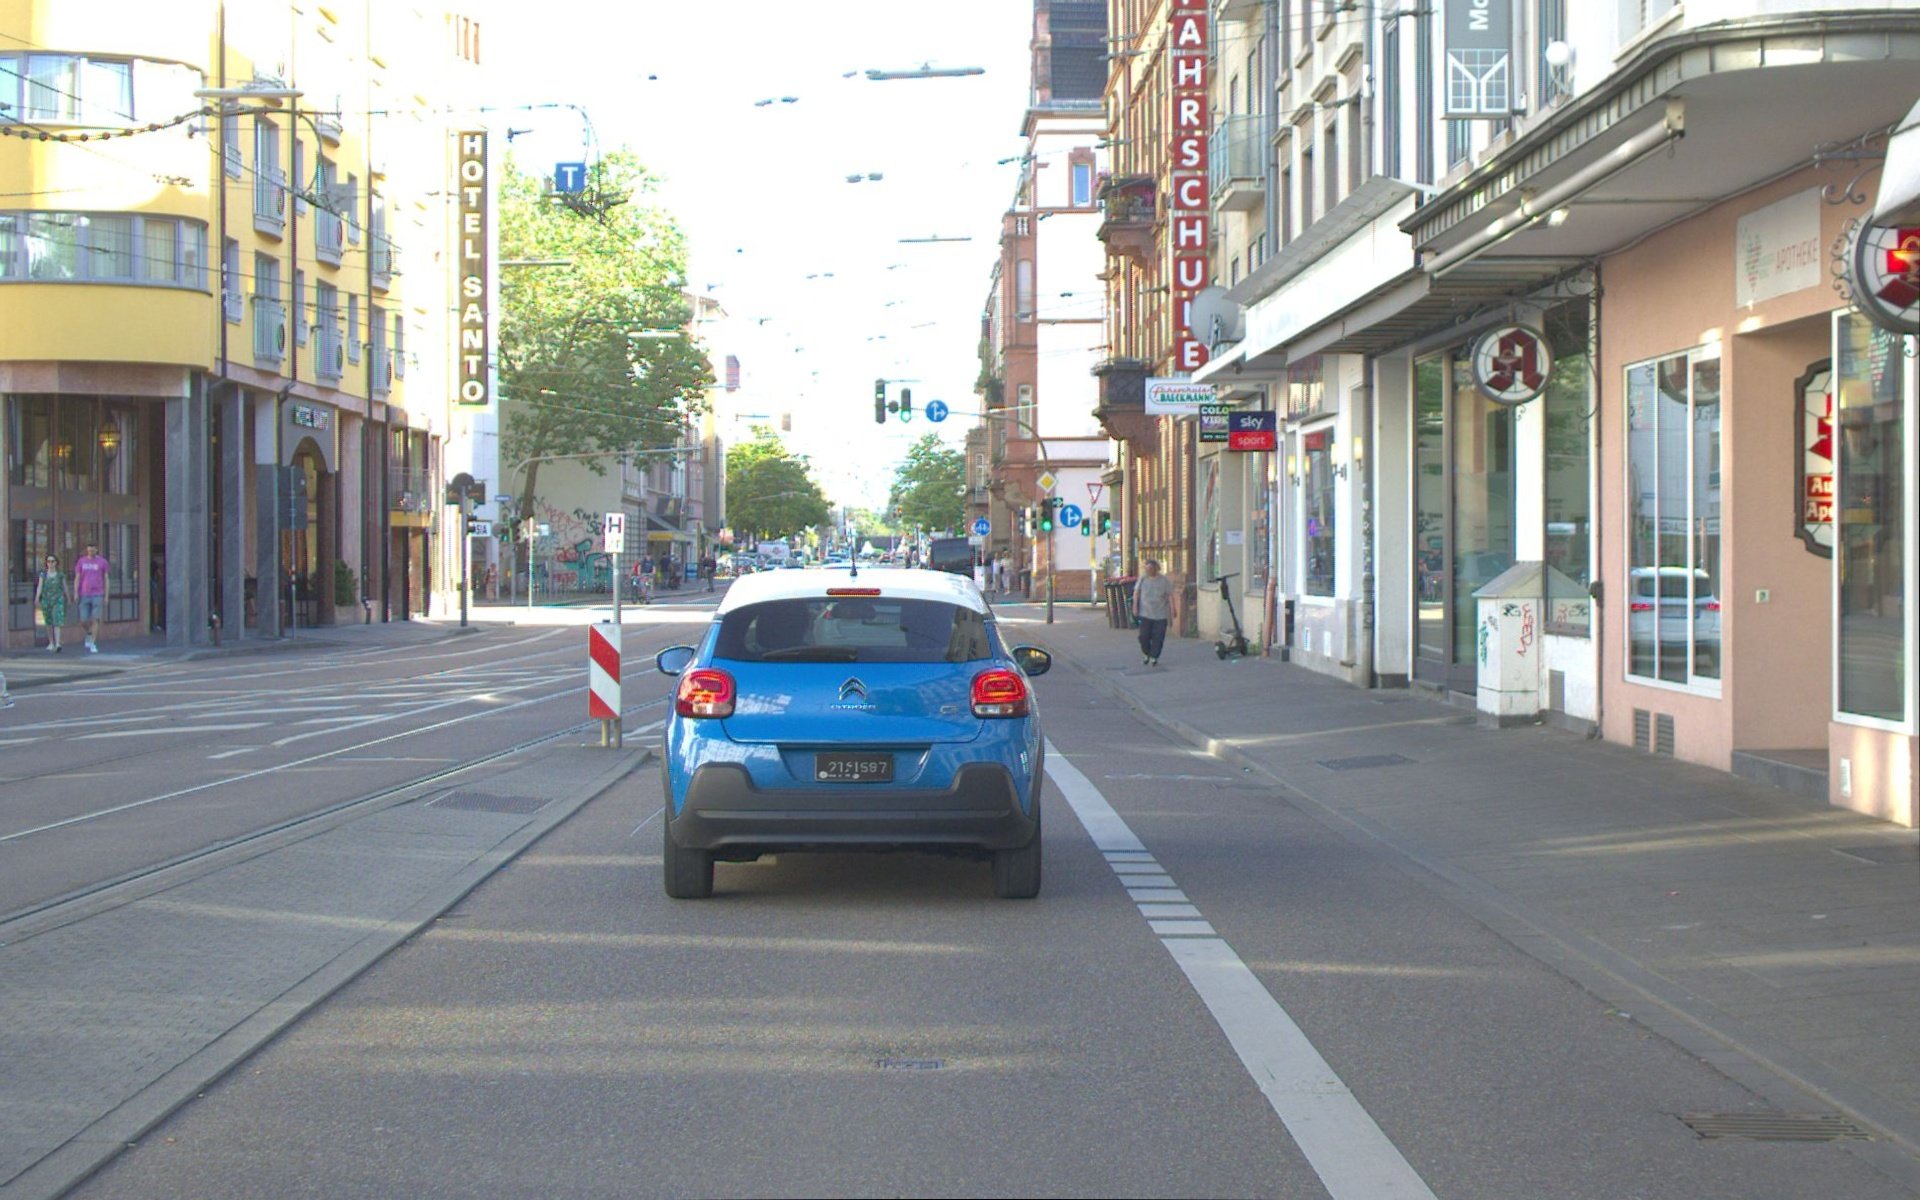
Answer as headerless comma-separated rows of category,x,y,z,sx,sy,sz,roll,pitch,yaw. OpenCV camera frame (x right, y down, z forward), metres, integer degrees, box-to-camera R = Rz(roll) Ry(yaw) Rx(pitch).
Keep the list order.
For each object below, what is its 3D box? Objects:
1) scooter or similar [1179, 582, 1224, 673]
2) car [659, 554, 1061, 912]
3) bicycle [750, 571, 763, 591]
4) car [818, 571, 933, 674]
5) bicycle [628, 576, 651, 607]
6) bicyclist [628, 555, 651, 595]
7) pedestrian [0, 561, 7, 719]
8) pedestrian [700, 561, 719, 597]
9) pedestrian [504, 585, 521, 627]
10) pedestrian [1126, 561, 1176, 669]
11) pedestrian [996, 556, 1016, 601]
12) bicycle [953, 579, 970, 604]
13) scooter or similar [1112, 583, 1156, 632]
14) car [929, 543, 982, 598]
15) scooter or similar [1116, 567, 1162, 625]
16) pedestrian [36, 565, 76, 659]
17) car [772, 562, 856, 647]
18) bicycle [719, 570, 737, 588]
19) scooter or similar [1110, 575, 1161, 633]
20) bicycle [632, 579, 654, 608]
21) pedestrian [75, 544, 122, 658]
scooter or similar,3.448,0.387,48.997,0.410,1.277,1.283,0,1,15
car,-0.441,0.540,16.628,1.674,1.472,4.000,-1,1,0
bicycle,-11.680,-1.088,197.401,0.692,1.116,2.084,0,1,-2
car,-1.302,0.314,51.937,1.667,1.473,4.000,-1,1,-2
bicycle,-11.492,-0.299,123.287,0.730,1.084,2.062,0,1,-3
bicyclist,-11.484,-0.892,123.258,0.724,1.376,1.228,1,1,-3
pedestrian,-11.105,0.447,38.524,0.713,1.758,0.780,0,0,-8
pedestrian,-12.135,-1.008,166.527,0.682,1.759,1.025,0,0,10
pedestrian,-16.590,0.206,127.499,0.542,1.547,0.516,-1,0,-2
pedestrian,2.760,0.210,49.660,0.648,1.555,0.781,0,0,-2
pedestrian,1.839,-0.864,137.425,0.705,1.776,0.673,2,-2,-3
bicycle,0.062,-0.326,133.274,0.431,0.944,1.764,0,1,-8
scooter or similar,3.631,0.160,71.784,0.790,0.954,0.680,-4,1,-3
car,-0.221,-1.328,153.762,2.271,2.428,5.720,0,1,-1
scooter or similar,3.697,-0.090,71.003,0.790,1.144,0.790,-4,1,-3
pedestrian,-15.505,0.201,58.962,0.571,1.612,0.499,0,0,-2
car,-3.572,0.083,84.742,1.993,2.007,4.000,-1,1,-2
bicycle,-16.527,-1.498,245.174,1.120,1.315,3.645,0,1,-7
scooter or similar,3.691,0.090,72.445,0.933,1.144,0.650,-4,1,-3
bicycle,-11.901,-0.235,128.988,0.730,1.062,2.062,0,0,-3
pedestrian,-14.796,0.017,59.051,0.637,1.940,0.709,0,0,-2
